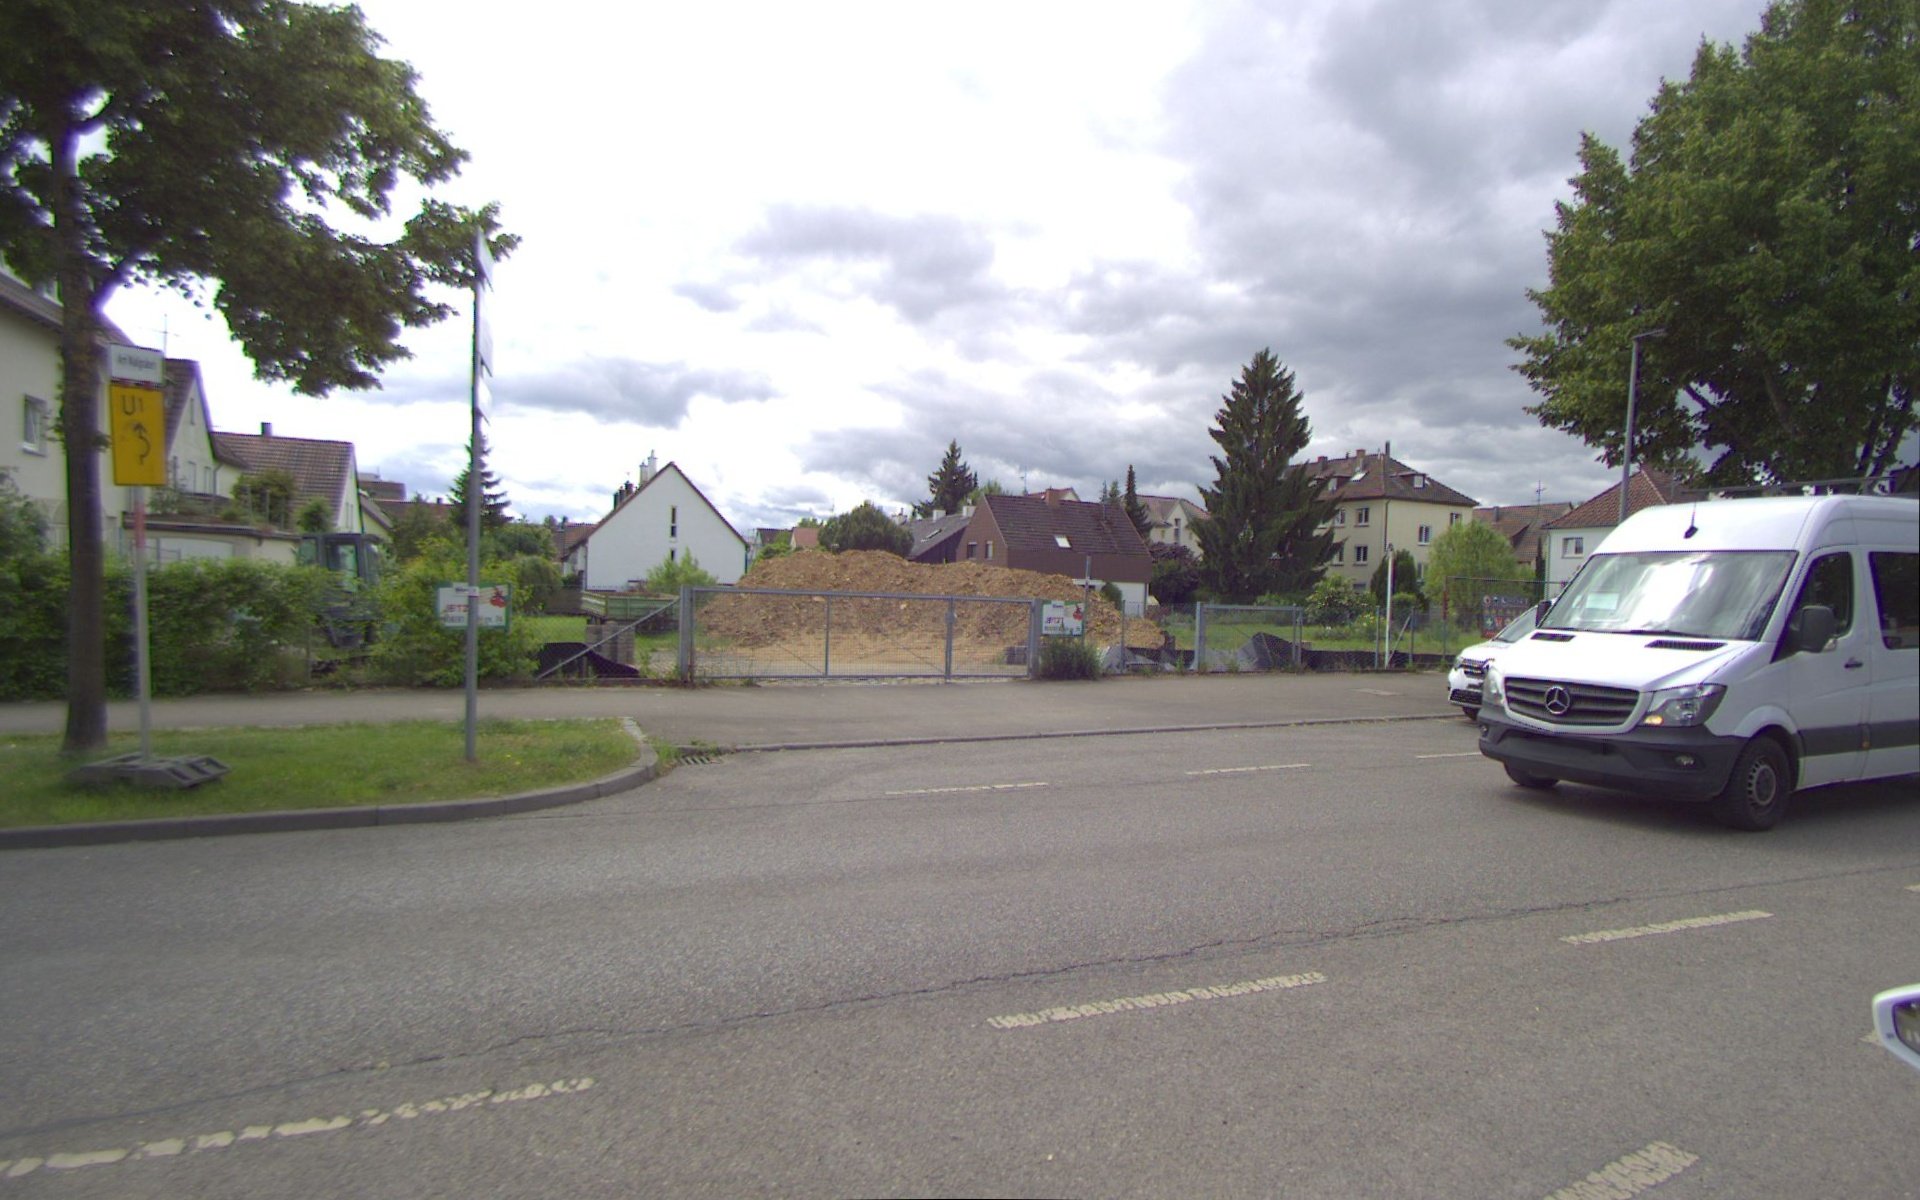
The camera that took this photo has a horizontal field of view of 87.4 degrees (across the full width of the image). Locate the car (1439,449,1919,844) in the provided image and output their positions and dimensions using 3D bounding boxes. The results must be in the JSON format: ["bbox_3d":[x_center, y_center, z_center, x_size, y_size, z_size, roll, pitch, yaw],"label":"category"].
[{"bbox_3d":[7.192,0.354,9.013,5.726,2.710,2.013,1,1,-25],"label":"car"}]

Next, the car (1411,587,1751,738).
[{"bbox_3d":[8.513,0.779,13.726,4.489,1.794,1.765,1,1,-25],"label":"car"}]

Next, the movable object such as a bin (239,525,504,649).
[{"bbox_3d":[-11.477,-0.203,19.903,4.308,2.217,1.888,1,0,-29],"label":"movable object such as a bin"}]
